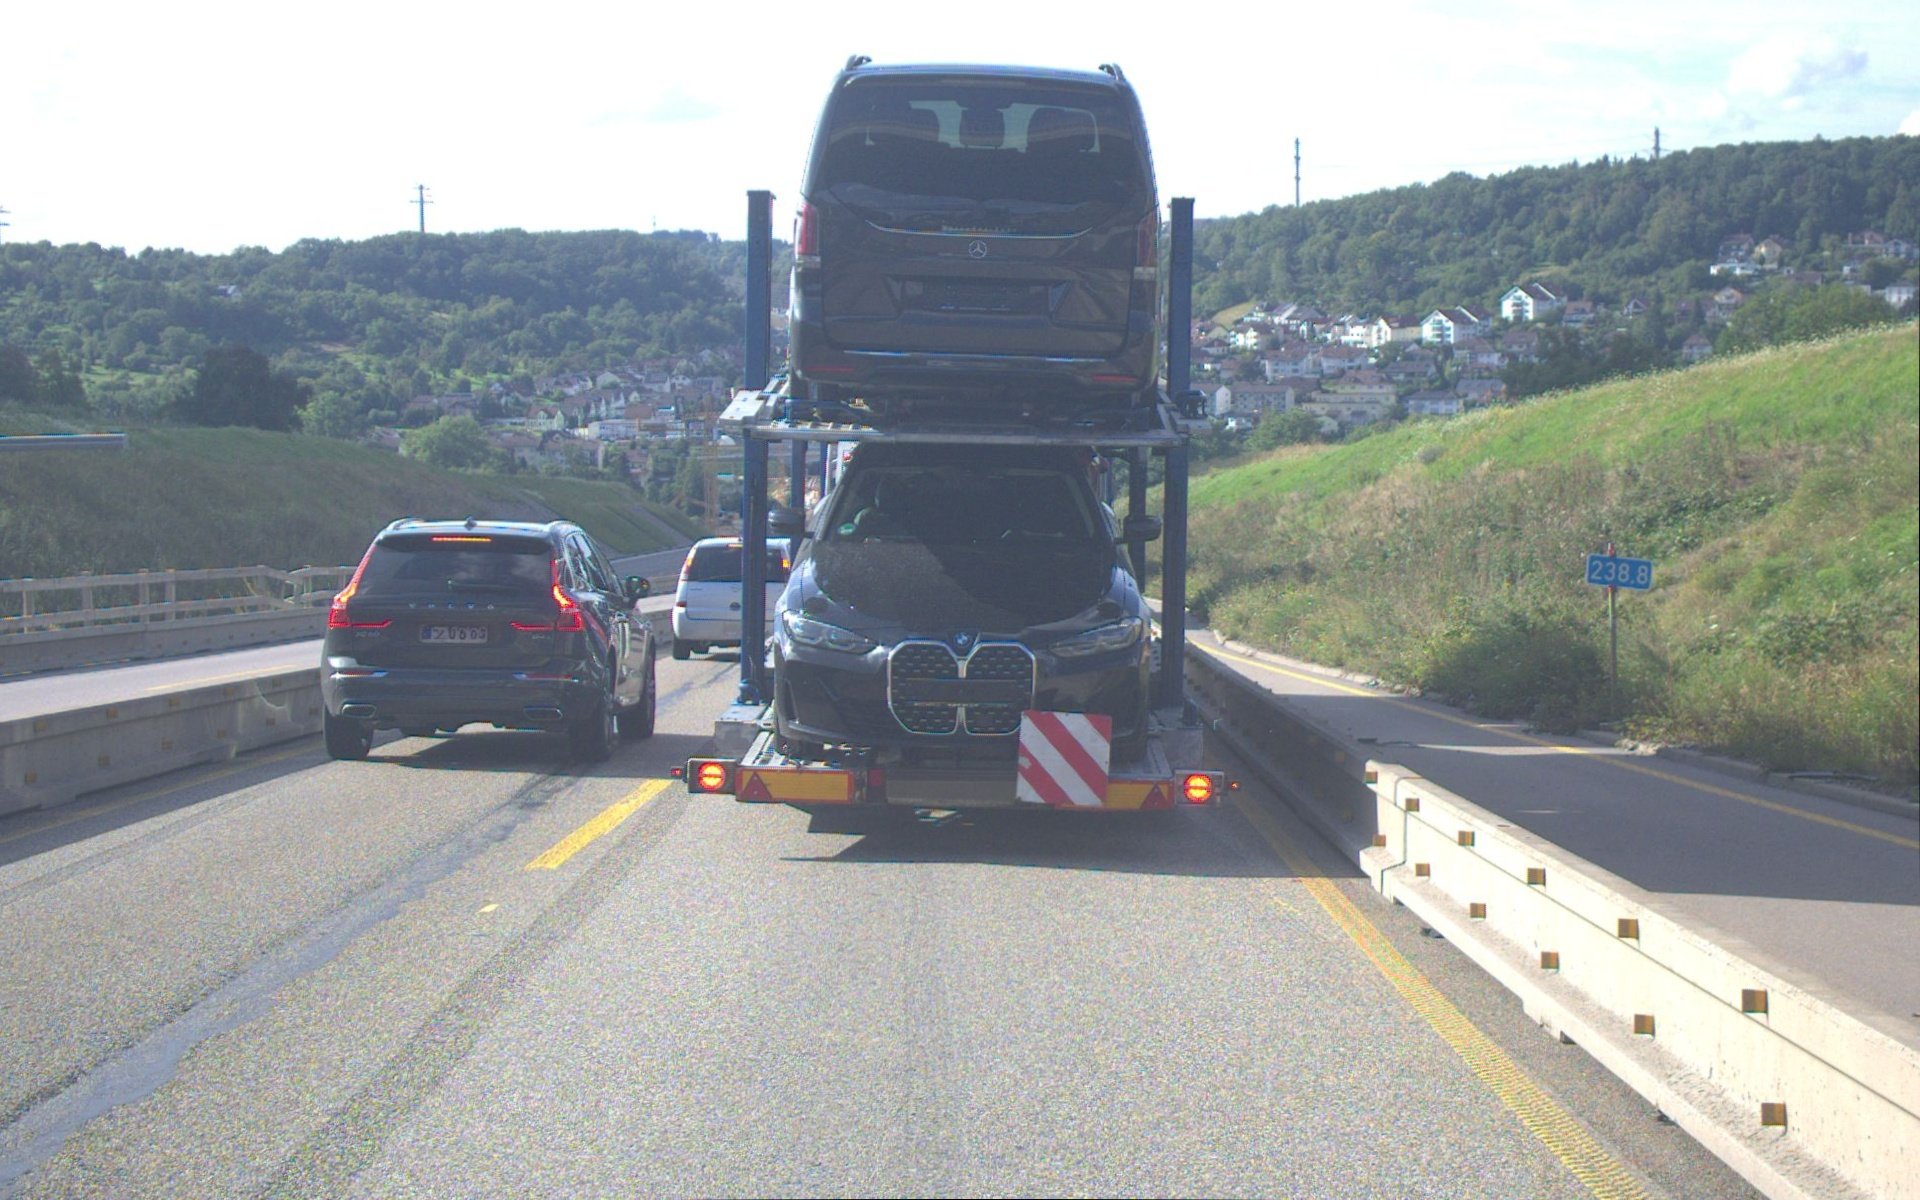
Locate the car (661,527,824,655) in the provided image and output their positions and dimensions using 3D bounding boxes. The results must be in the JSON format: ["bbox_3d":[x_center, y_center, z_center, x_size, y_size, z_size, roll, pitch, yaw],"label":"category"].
[{"bbox_3d":[-2.848,-0.153,45.933,1.796,1.591,4.743,1,1,1],"label":"car"}]

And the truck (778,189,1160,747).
[{"bbox_3d":[0.102,-0.981,27.148,2.678,3.908,6.027,0,1,1],"label":"truck"}]

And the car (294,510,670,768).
[{"bbox_3d":[-3.282,0.197,24.549,1.993,1.619,4.750,1,1,0],"label":"car"}]

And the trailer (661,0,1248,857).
[{"bbox_3d":[0.014,-0.922,21.632,2.708,4.015,11.420,0,1,0],"label":"trailer"}]

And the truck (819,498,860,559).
[{"bbox_3d":[-8.322,-4.943,237.022,2.614,4.139,5.781,0,1,0],"label":"truck"}]

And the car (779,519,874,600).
[{"bbox_3d":[-2.597,-0.820,67.264,1.796,1.525,4.296,0,1,-2],"label":"car"}]
